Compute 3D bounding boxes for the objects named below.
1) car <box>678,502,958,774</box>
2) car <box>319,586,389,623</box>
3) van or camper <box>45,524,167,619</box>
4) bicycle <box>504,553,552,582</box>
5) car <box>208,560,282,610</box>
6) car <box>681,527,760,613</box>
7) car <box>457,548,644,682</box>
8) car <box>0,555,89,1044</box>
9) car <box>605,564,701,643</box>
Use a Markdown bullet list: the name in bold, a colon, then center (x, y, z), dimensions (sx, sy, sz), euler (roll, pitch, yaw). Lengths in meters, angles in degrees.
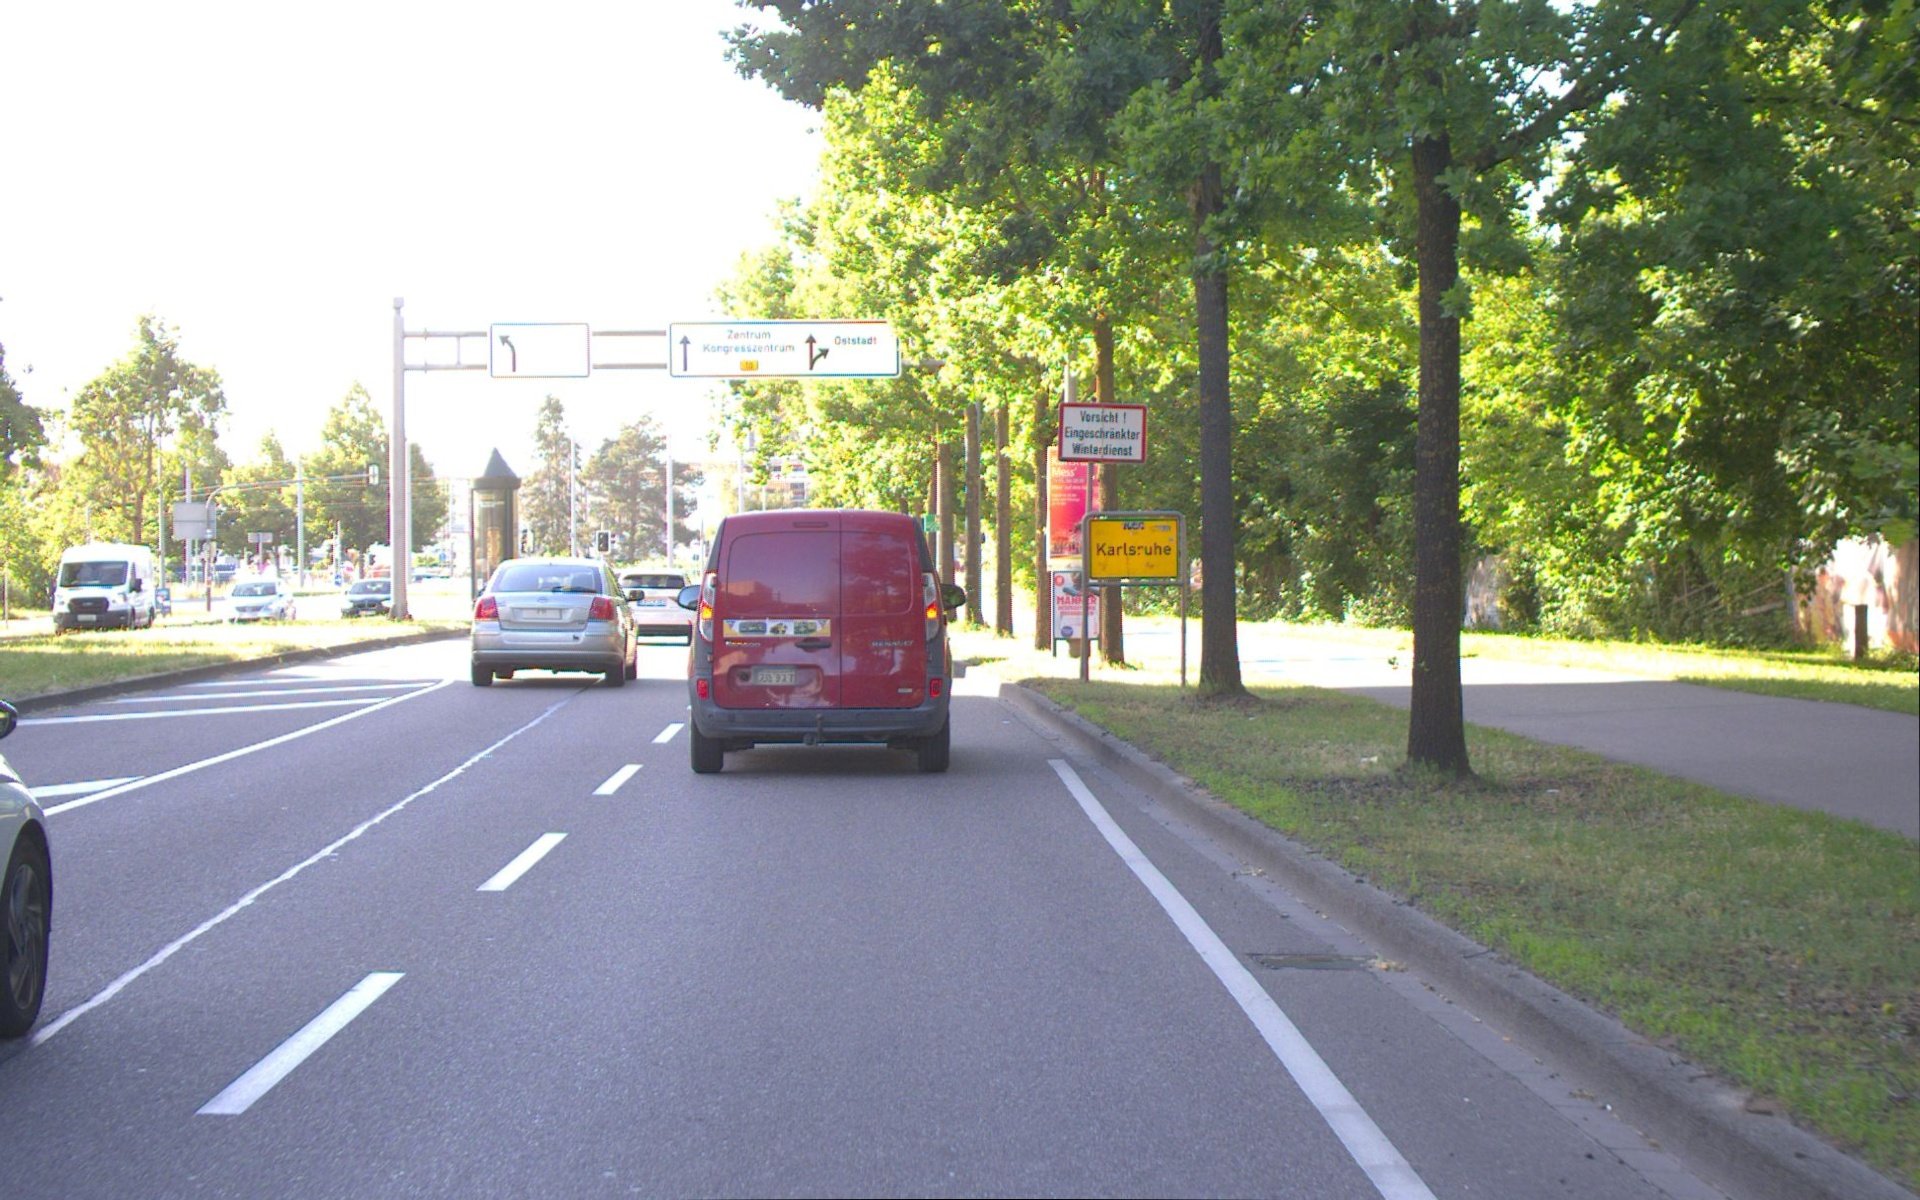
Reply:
- **car**: center (-1.036, 0.219, 24.465), dimensions (1.806, 1.753, 4.006), euler (1, 1, -3)
- **car**: center (-19.265, 0.126, 109.430), dimensions (1.827, 1.107, 4.175), euler (-1, 1, -5)
- **van or camper**: center (-22.520, -0.786, 90.876), dimensions (1.993, 2.360, 5.994), euler (-2, 1, -3)
- **bicycle**: center (-17.831, -1.350, 141.887), dimensions (1.958, 1.162, 0.517), euler (-1, 0, -4)
- **car**: center (-21.619, -0.460, 104.047), dimensions (1.688, 1.471, 4.050), euler (-1, 1, -5)
- **car**: center (-5.252, -0.673, 75.747), dimensions (1.661, 1.850, 3.559), euler (0, 1, -3)
- **car**: center (-4.719, 0.139, 40.128), dimensions (1.841, 1.451, 4.163), euler (1, 1, -3)
- **car**: center (-3.633, 0.593, 8.989), dimensions (1.778, 1.404, 4.075), euler (0, 1, -2)
- **car**: center (-5.717, 0.046, 64.312), dimensions (1.661, 1.393, 3.559), euler (0, 1, -3)
